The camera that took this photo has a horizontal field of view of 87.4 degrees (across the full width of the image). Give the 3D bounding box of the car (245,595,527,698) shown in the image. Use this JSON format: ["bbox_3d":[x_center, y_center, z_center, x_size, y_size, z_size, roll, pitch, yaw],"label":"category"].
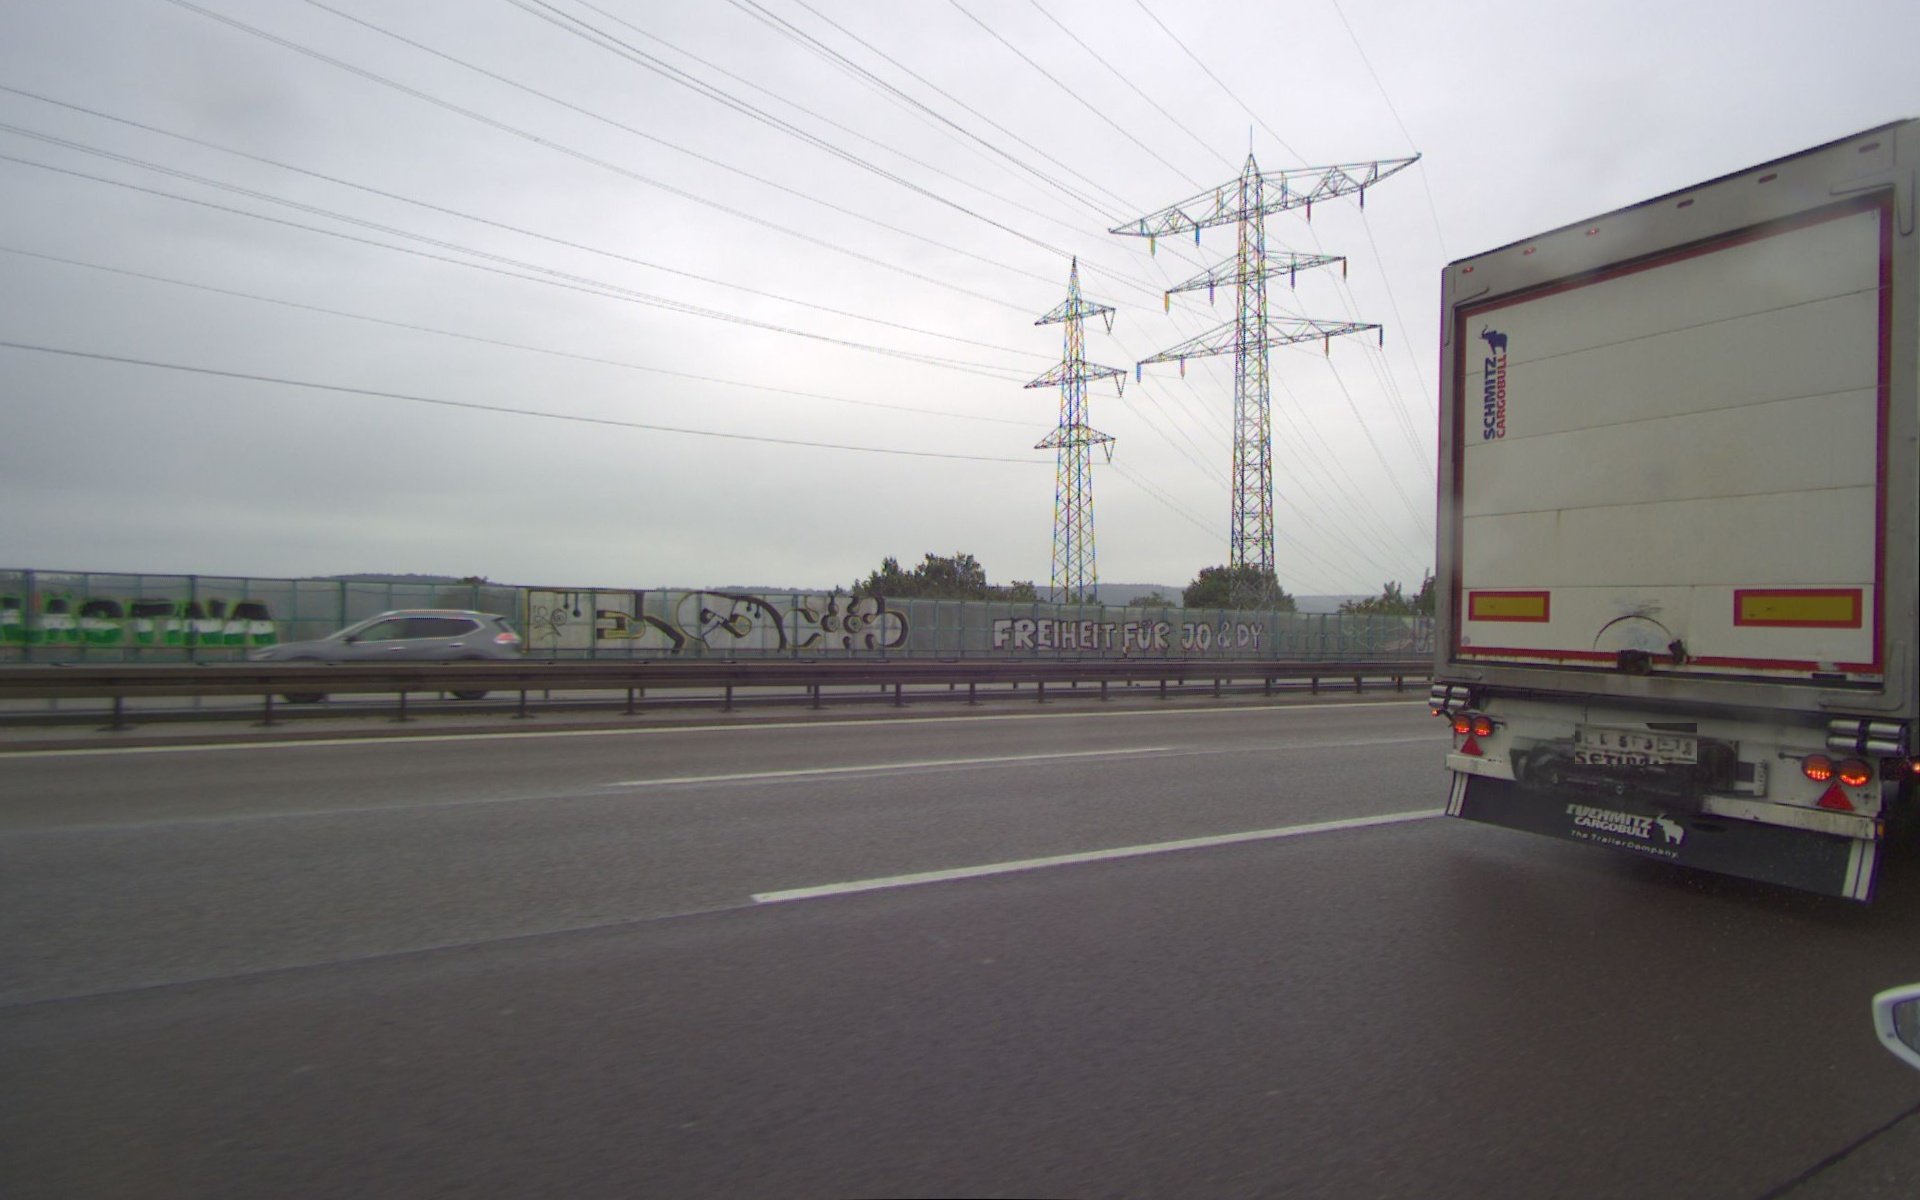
[{"bbox_3d":[-10.761,0.934,19.124,4.417,1.766,1.833,3,-4,-31],"label":"car"}]

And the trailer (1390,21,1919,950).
[{"bbox_3d":[9.787,-0.305,9.248,14.651,4.213,2.331,2,0,-30],"label":"trailer"}]

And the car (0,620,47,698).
[{"bbox_3d":[-20.004,1.068,18.457,4.417,1.449,1.833,3,-4,-31],"label":"car"}]
